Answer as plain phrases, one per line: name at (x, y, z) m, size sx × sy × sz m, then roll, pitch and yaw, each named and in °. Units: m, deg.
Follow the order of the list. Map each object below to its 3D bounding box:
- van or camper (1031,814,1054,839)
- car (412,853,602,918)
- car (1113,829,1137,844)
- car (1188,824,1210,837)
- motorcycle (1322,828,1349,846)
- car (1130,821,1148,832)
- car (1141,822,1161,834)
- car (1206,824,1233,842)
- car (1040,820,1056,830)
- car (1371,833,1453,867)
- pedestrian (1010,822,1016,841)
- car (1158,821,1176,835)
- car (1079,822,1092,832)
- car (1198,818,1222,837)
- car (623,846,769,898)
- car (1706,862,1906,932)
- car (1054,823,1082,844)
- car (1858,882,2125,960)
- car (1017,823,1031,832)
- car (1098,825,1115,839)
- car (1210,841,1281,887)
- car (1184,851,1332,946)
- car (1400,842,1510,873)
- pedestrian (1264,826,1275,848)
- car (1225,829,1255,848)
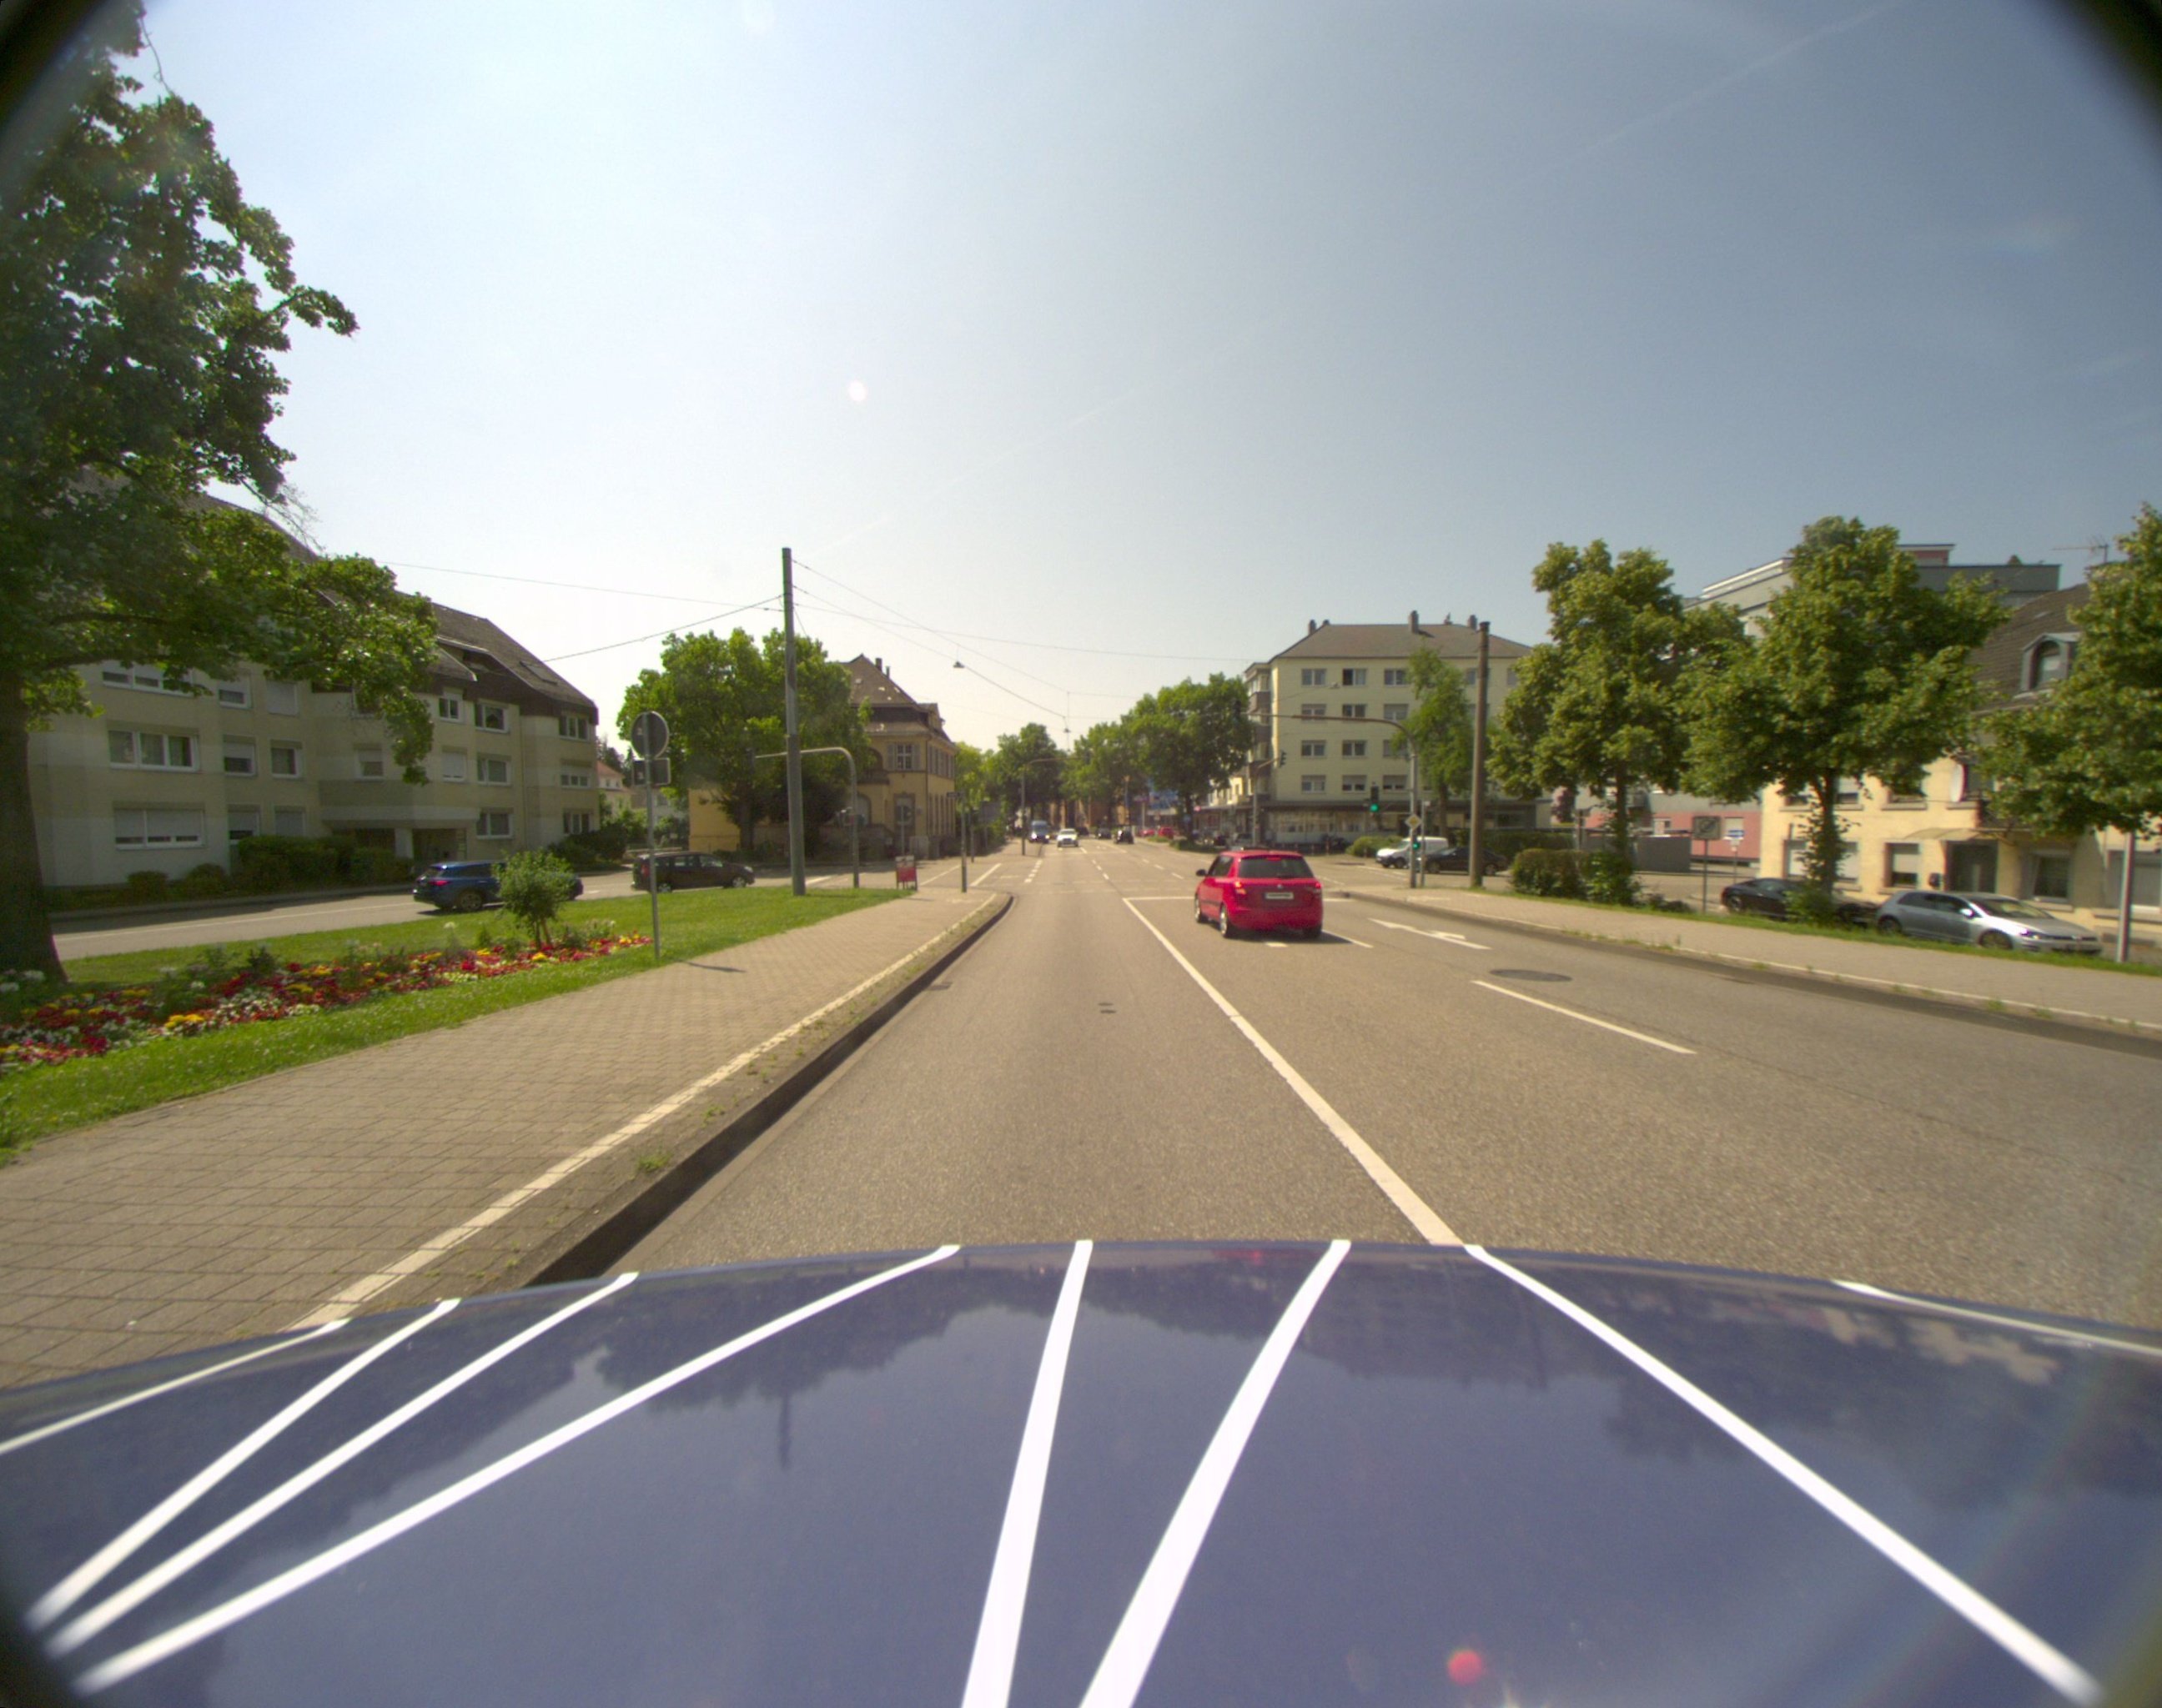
van or camper at (-4.316, -3.124, 84.236) m, size 2.165 × 2.568 × 5.838 m, roll -2°, pitch 4°, yaw -7°
car at (-19.796, 1.006, 26.480) m, size 1.994 × 1.692 × 4.775 m, roll 2°, pitch 5°, yaw 29°
car at (4.455, -1.811, 77.164) m, size 1.842 × 1.391 × 4.046 m, roll 0°, pitch 2°, yaw -6°
car at (12.898, -2.625, 82.994) m, size 1.704 × 1.280 × 3.858 m, roll -1°, pitch 3°, yaw -2°
motorcycle at (20.326, -1.357, 60.783) m, size 1.919 × 1.413 × 0.713 m, roll -1°, pitch 5°, yaw -1°
car at (8.410, -3.958, 110.430) m, size 1.913 × 1.511 × 4.330 m, roll -1°, pitch 3°, yaw -4°
car at (9.216, -3.411, 100.149) m, size 1.913 × 1.511 × 4.330 m, roll -1°, pitch 3°, yaw -4°
car at (13.023, -2.031, 71.621) m, size 1.626 × 1.560 × 4.836 m, roll -1°, pitch 3°, yaw -1°
car at (-6.157, -5.320, 139.591) m, size 1.917 × 1.719 × 3.993 m, roll 2°, pitch 1°, yaw -17°
car at (18.556, -0.244, 42.655) m, size 3.696 × 1.726 × 1.892 m, roll 2°, pitch 3°, yaw -3°
pedestrian at (-7.091, -2.342, 79.310) m, size 0.621 × 1.908 × 0.743 m, roll 0°, pitch 4°, yaw -2°
car at (10.072, -3.081, 89.381) m, size 1.639 × 1.460 × 3.632 m, roll 0°, pitch 3°, yaw -1°
car at (0.648, -4.011, 112.375) m, size 1.620 × 1.448 × 3.707 m, roll 1°, pitch 2°, yaw -3°
car at (13.146, -2.689, 77.478) m, size 1.643 × 1.829 × 3.857 m, roll -1°, pitch 3°, yaw -2°
car at (-15.486, 0.659, 30.766) m, size 4.826 × 1.623 × 1.912 m, roll -5°, pitch 6°, yaw -43°
car at (23.393, 1.298, 24.901) m, size 1.818 × 1.620 × 5.285 m, roll 2°, pitch 4°, yaw 6°
car at (-1.252, -1.966, 70.781) m, size 2.000 × 1.740 × 4.439 m, roll -3°, pitch 3°, yaw -9°
car at (22.817, 1.602, 19.377) m, size 1.779 × 1.424 × 4.430 m, roll -2°, pitch 2°, yaw 6°
car at (-11.842, -5.527, 158.035) m, size 1.921 × 1.784 × 3.992 m, roll -3°, pitch 2°, yaw -19°
car at (3.171, -2.774, 95.211) m, size 1.760 × 1.552 × 4.312 m, roll 1°, pitch 5°, yaw -4°
car at (6.142, 0.316, 28.815) m, size 1.718 × 1.477 × 4.029 m, roll 2°, pitch 2°, yaw -1°
car at (3.072, 0.696, 13.993) m, size 1.651 × 1.456 × 3.859 m, roll 0°, pitch 1°, yaw -3°
car at (19.240, 0.169, 39.247) m, size 4.618 × 1.393 × 2.114 m, roll 2°, pitch 3°, yaw -5°
pedestrian at (15.136, -1.366, 60.909) m, size 0.628 × 1.751 × 0.742 m, roll 0°, pitch 5°, yaw -2°
car at (13.319, -1.299, 63.708) m, size 1.586 × 1.451 × 3.937 m, roll -1°, pitch 3°, yaw -2°
